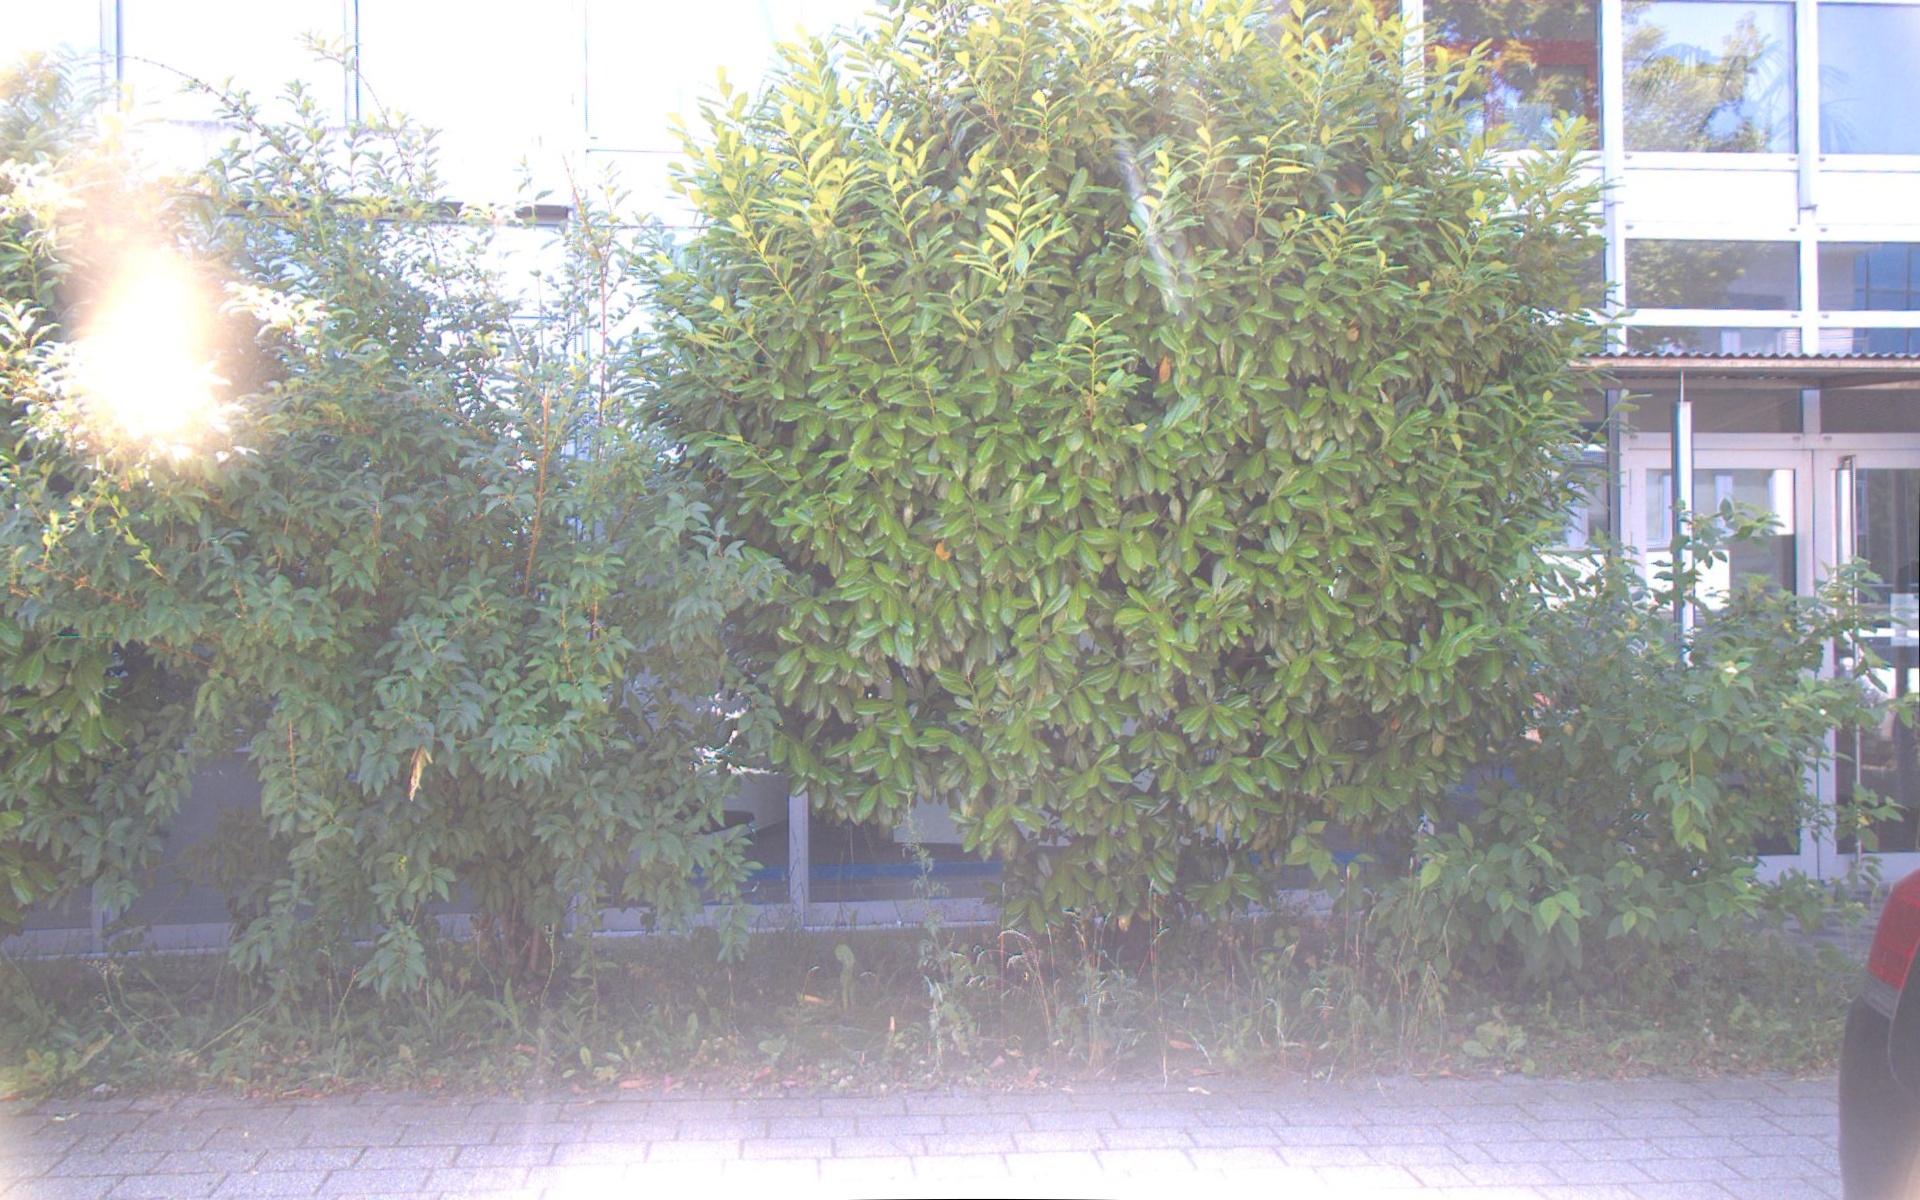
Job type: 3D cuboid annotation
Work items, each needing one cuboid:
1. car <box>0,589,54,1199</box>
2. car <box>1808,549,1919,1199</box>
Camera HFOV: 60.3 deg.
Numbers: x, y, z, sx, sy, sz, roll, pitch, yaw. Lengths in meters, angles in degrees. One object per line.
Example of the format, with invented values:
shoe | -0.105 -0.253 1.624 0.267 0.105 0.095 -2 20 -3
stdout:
car | -2.225 0.729 0.809 1.687 1.505 4.340 0 0 -8
car | 2.583 0.709 0.870 1.723 1.576 4.562 0 0 -4
